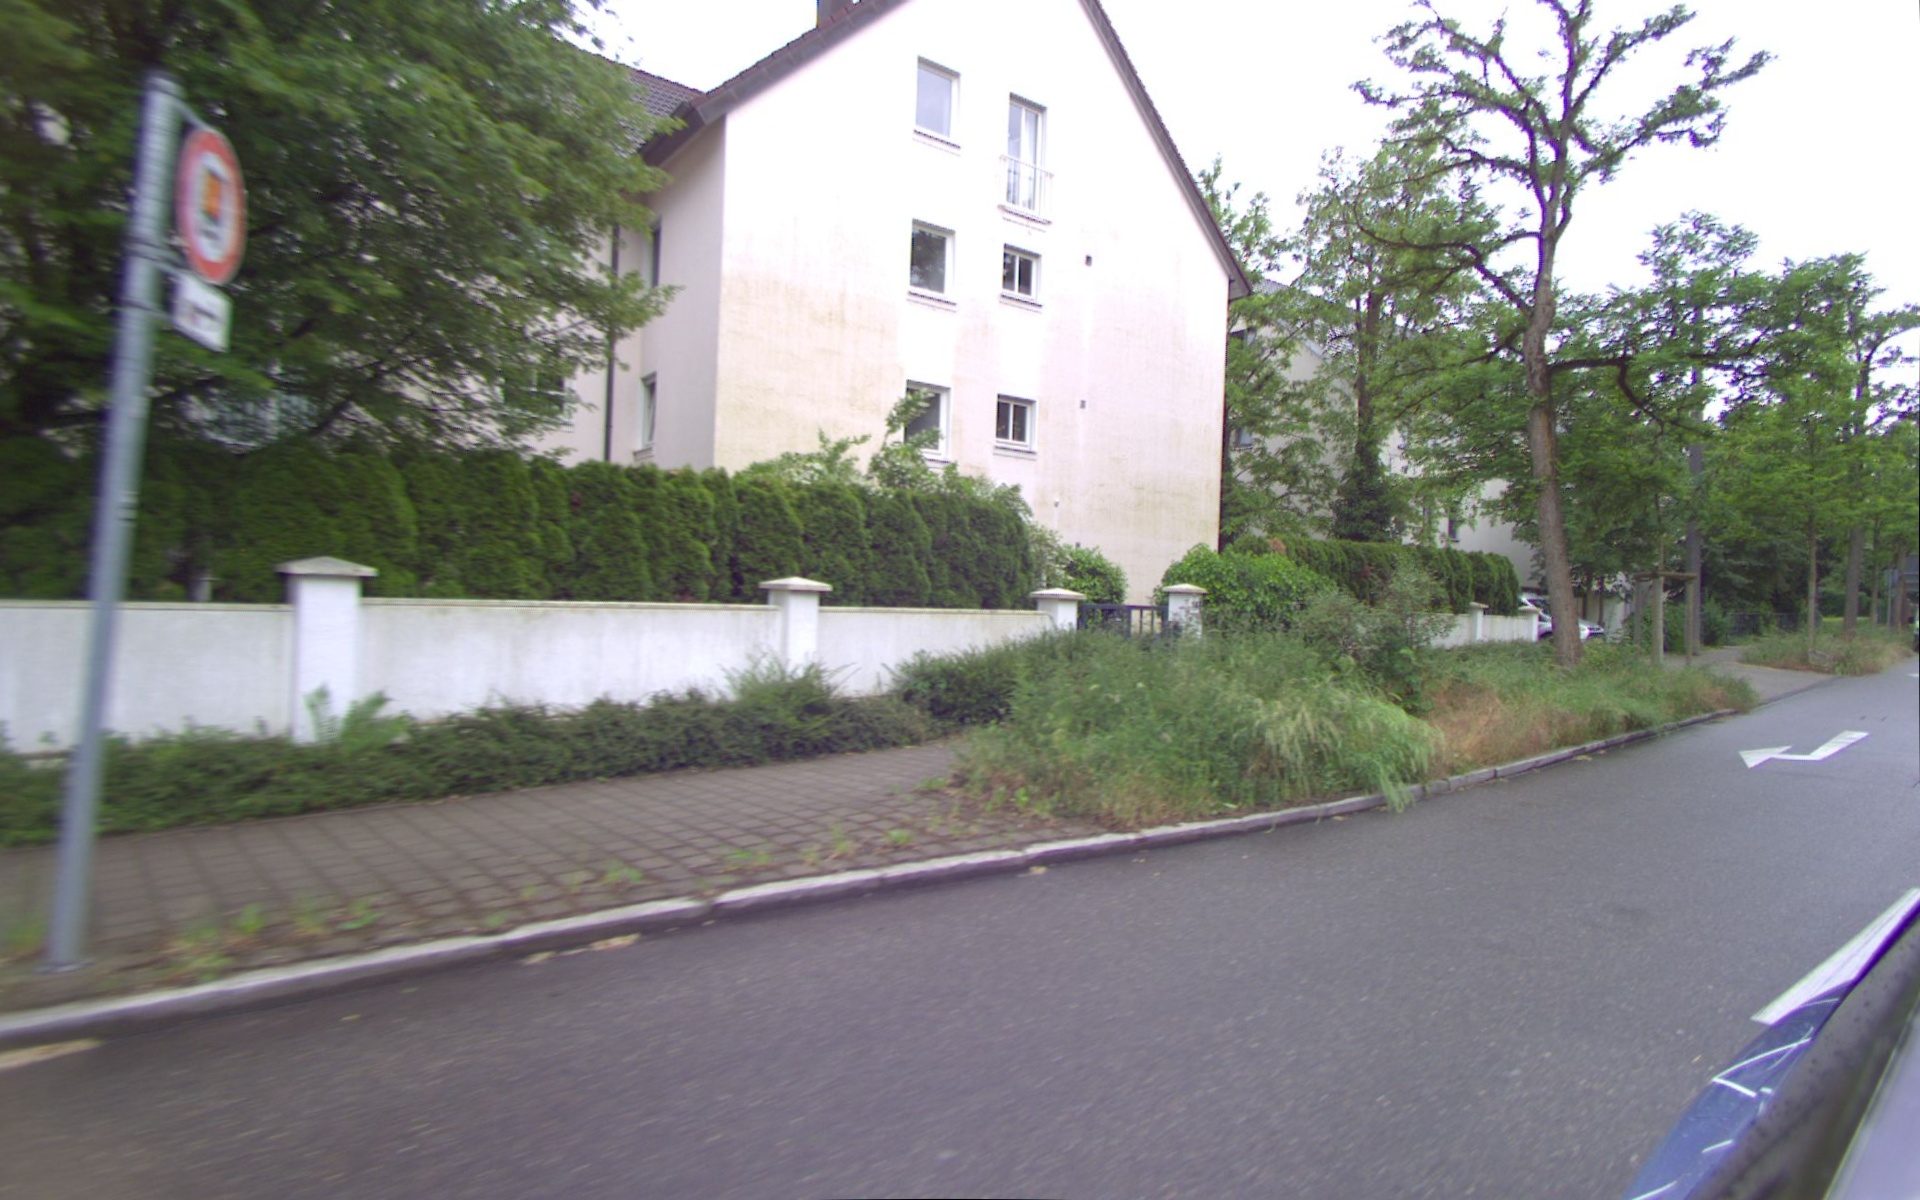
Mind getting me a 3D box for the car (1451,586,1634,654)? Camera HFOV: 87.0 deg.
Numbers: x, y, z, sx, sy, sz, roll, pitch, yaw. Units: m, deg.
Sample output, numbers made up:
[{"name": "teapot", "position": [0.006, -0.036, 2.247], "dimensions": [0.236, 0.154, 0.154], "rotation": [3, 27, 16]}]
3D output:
[{"name": "car", "position": [17.085, 0.526, 29.903], "dimensions": [1.837, 1.840, 4.321], "rotation": [1, 0, -32]}]
